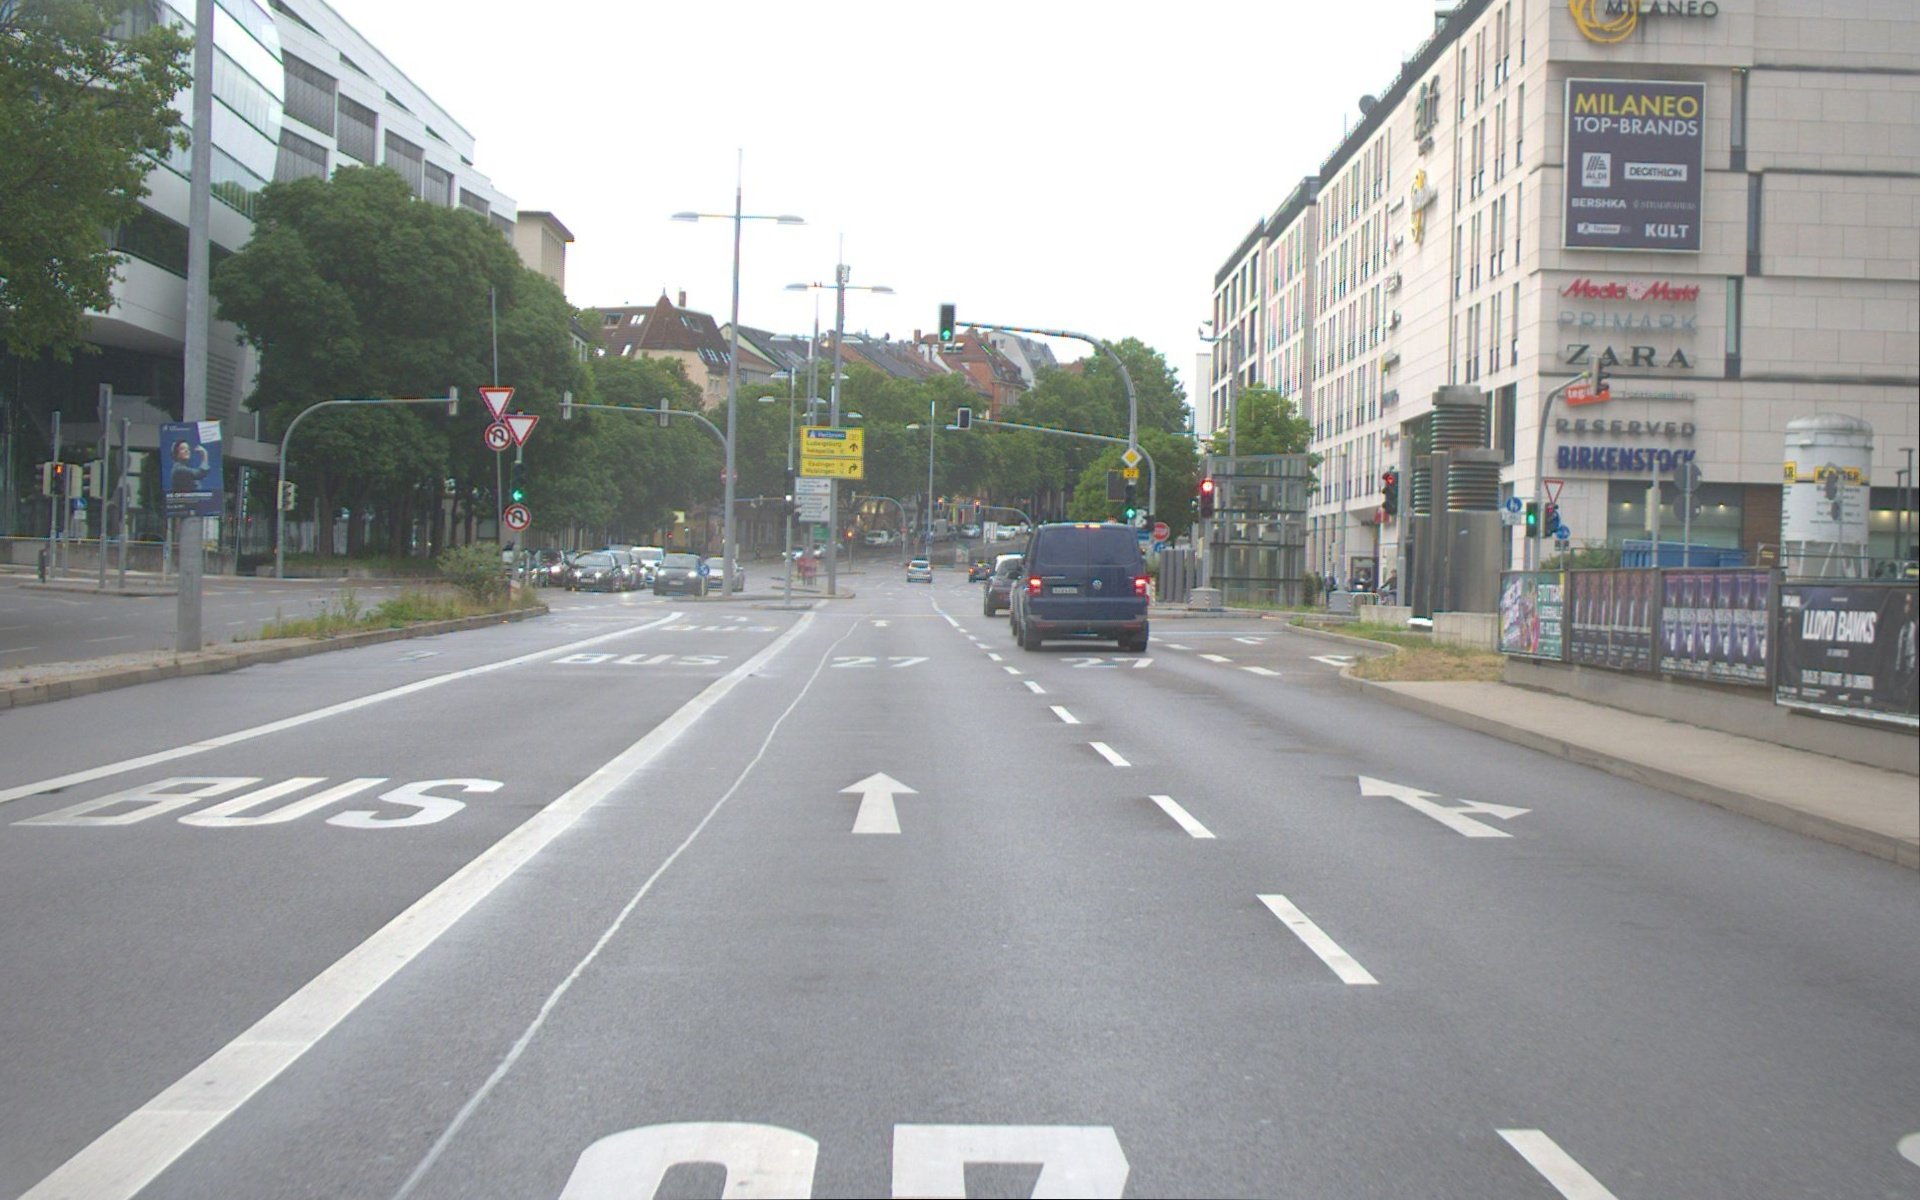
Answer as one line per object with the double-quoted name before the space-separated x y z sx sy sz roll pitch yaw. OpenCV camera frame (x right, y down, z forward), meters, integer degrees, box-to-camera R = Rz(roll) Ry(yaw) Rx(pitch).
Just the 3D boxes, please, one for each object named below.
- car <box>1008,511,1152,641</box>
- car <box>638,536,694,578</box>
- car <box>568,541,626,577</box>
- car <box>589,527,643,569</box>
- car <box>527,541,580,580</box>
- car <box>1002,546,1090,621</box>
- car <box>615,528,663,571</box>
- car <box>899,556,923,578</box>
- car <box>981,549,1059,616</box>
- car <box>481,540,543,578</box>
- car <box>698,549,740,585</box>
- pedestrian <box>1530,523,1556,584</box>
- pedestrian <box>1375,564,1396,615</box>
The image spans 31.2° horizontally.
"car" 1.837 -0.426 54.261 2.033 1.875 5.042 -2 2 0
"car" -10.625 -1.550 124.430 1.743 1.439 3.395 1 0 -1
"car" -13.243 -1.512 125.712 1.743 1.253 3.540 2 1 -1
"car" -13.296 -1.999 132.933 1.743 1.553 3.540 1 0 -1
"car" -16.372 -1.581 138.597 1.743 1.553 3.540 1 0 -1
"car" 1.788 -0.334 72.622 1.724 1.526 3.814 1 0 -1
"car" -13.653 -2.145 146.449 1.743 1.742 3.540 1 0 -1
"car" -3.584 -2.424 251.357 1.740 1.526 3.814 1 1 -1
"car" 1.394 -0.404 81.651 1.740 1.526 3.814 1 0 -1
"car" -16.309 -1.477 125.287 1.743 1.324 4.226 1 0 -1
"car" -10.225 -1.398 146.222 1.538 1.472 3.696 1 0 -1
"pedestrian" 17.126 -1.354 101.012 0.439 1.774 0.595 1 0 -34
"pedestrian" 13.515 -0.336 109.279 0.550 1.605 0.698 1 0 0
